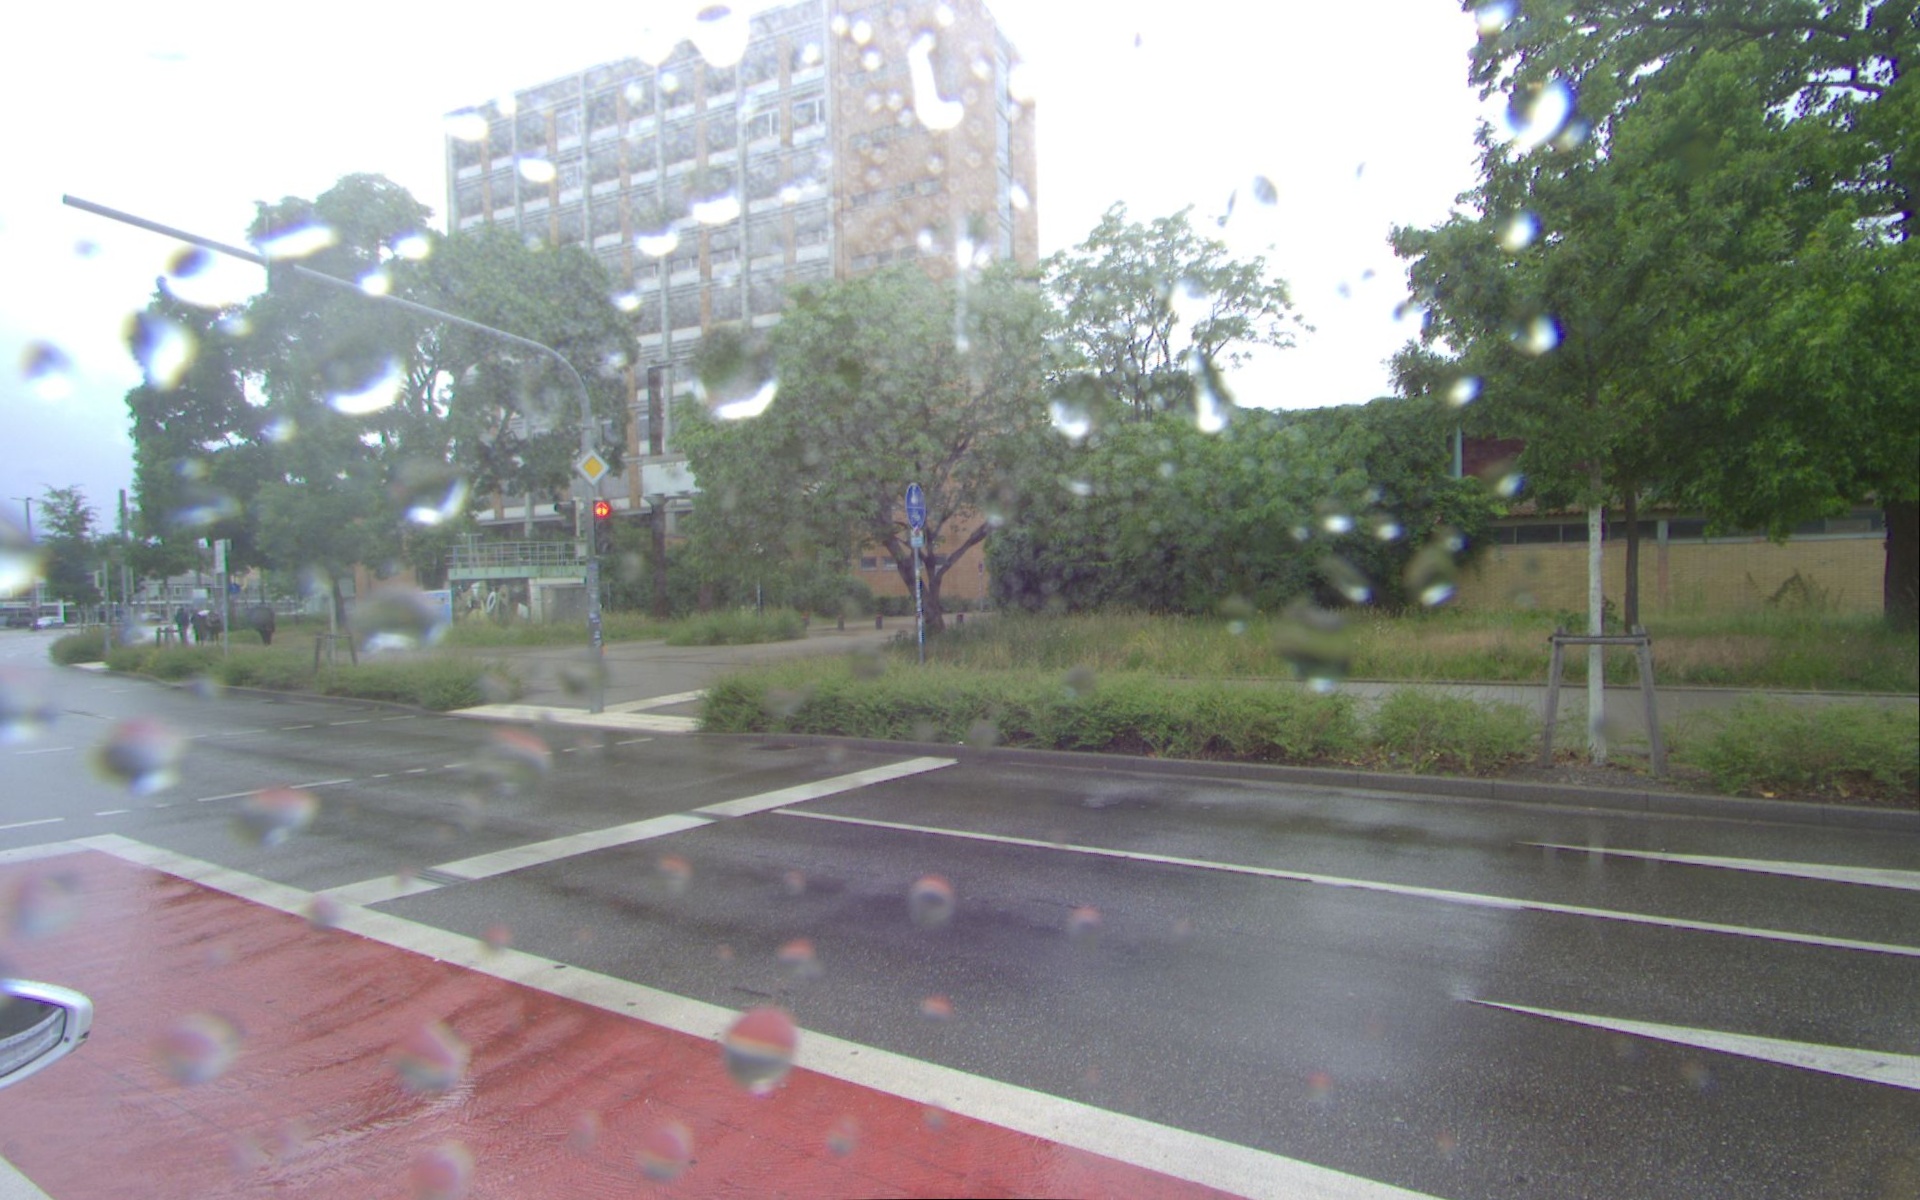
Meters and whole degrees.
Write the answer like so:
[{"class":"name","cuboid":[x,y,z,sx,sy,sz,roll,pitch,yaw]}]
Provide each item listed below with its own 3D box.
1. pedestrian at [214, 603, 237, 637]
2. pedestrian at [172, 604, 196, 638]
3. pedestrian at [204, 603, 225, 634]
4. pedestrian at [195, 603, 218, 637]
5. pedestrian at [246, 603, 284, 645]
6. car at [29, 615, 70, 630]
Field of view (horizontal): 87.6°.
[{"class":"pedestrian","cuboid":[-35.862,0.960,48.904,0.926,1.609,0.699,0,1,43]},{"class":"pedestrian","cuboid":[-37.331,0.992,48.180,0.926,1.609,0.749,0,1,43]},{"class":"pedestrian","cuboid":[-39.589,0.964,53.162,0.926,1.609,0.699,0,1,43]},{"class":"pedestrian","cuboid":[-36.438,0.974,48.446,0.926,1.609,0.699,0,1,43]},{"class":"pedestrian","cuboid":[-27.237,0.921,39.225,0.926,1.609,1.017,0,1,42]},{"class":"car","cuboid":[-107.508,2.662,118.311,1.763,1.665,4.153,-1,0,-14]}]
